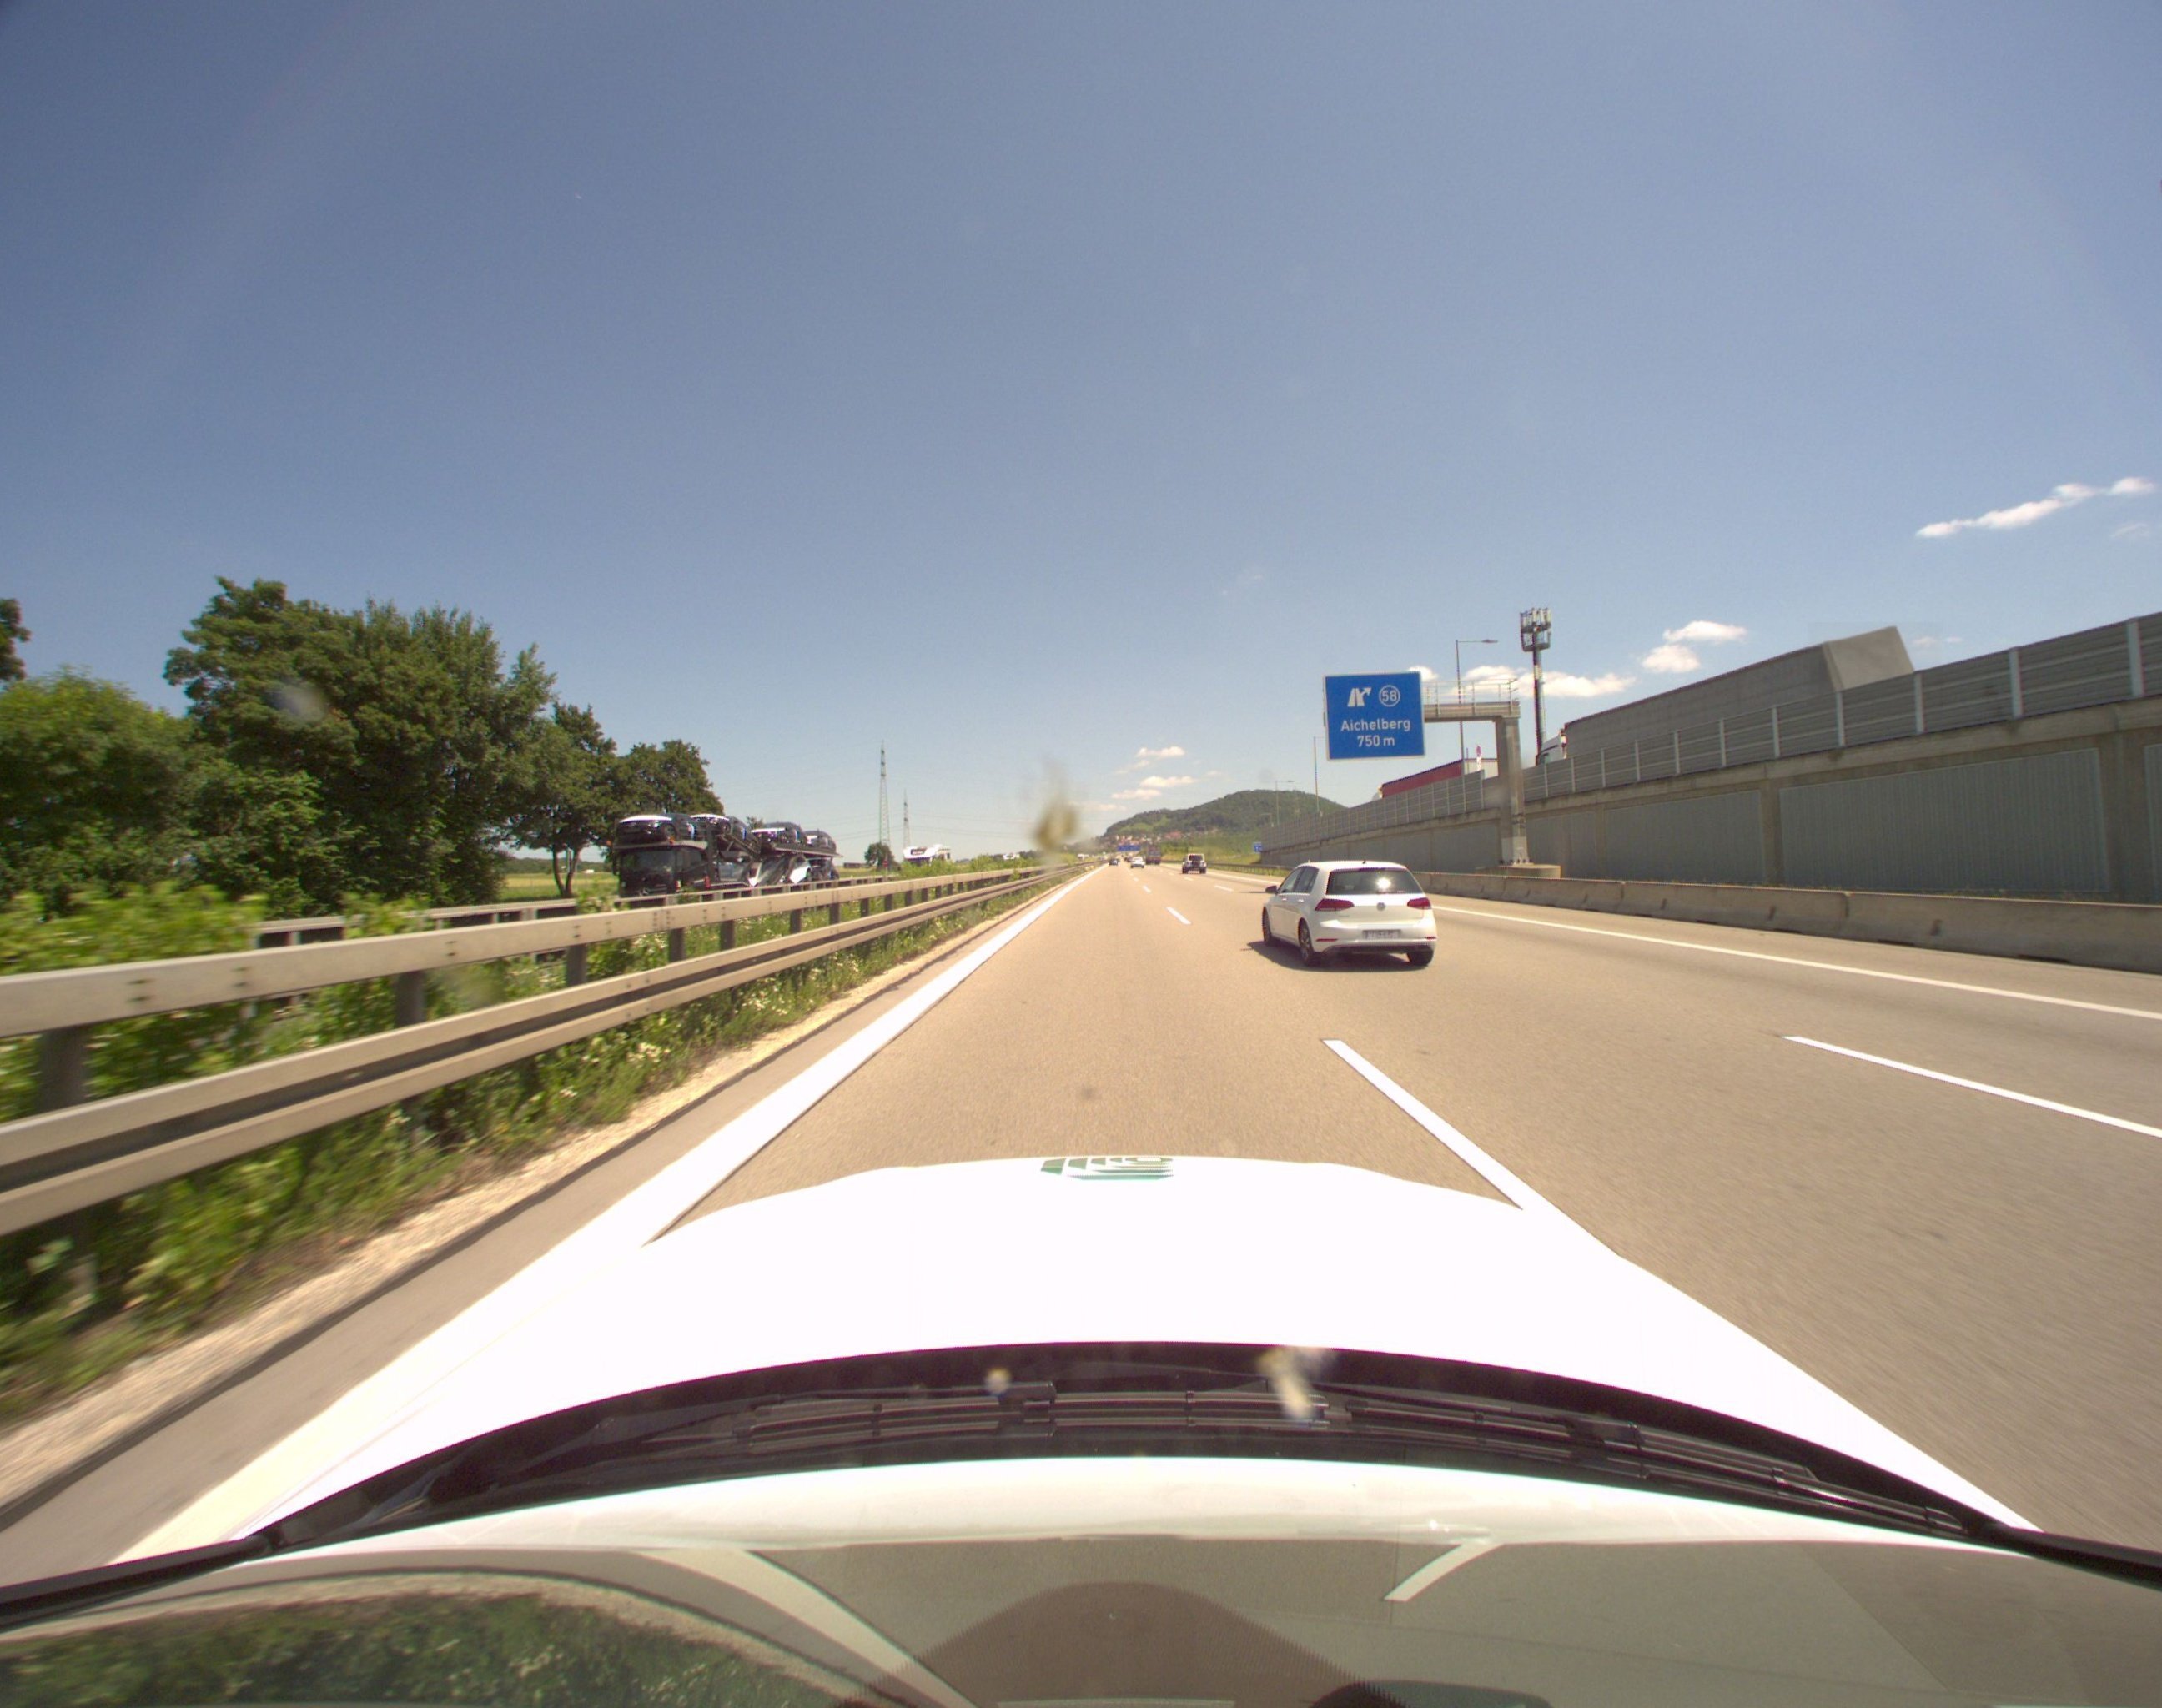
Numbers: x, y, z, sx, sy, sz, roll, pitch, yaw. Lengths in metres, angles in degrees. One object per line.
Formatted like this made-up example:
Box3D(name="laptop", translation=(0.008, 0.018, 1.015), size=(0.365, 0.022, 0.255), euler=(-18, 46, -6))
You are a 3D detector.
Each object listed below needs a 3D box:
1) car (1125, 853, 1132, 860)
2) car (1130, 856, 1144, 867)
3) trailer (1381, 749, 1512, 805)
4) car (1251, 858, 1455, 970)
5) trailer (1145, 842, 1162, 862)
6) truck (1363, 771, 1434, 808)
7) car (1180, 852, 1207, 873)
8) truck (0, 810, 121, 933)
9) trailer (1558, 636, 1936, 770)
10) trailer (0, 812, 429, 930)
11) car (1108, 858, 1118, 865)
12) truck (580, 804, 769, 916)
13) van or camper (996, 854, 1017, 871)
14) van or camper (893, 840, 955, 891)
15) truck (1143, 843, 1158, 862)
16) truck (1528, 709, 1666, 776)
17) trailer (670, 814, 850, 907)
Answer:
Box3D(name="car", translation=(14.958, 0.783, 256.432), size=(1.985, 2.014, 4.003), euler=(0, -1, 3))
Box3D(name="car", translation=(8.256, 1.063, 119.617), size=(1.907, 1.581, 5.233), euler=(0, -1, 2))
Box3D(name="trailer", translation=(24.110, -4.967, 55.025), size=(2.710, 2.224, 14.020), euler=(0, -1, 1))
Box3D(name="car", translation=(3.963, 0.797, 12.765), size=(1.769, 1.433, 4.693), euler=(0, -1, 2))
Box3D(name="trailer", translation=(15.656, -0.345, 176.684), size=(2.716, 4.155, 11.807), euler=(0, -1, 0))
Box3D(name="truck", translation=(24.218, -4.861, 62.537), size=(2.698, 2.204, 7.287), euler=(0, -1, 1))
Box3D(name="car", translation=(10.483, 0.758, 76.146), size=(2.027, 1.804, 4.252), euler=(-3, 0, 2))
Box3D(name="truck", translation=(-34.533, 0.546, 24.968), size=(2.786, 3.783, 6.101), euler=(0, -1, 2))
Box3D(name="trailer", translation=(23.725, -5.173, 31.071), size=(2.710, 2.224, 14.527), euler=(0, -1, 1))
Box3D(name="trailer", translation=(-34.232, 0.639, 33.505), size=(2.757, 3.779, 14.417), euler=(0, -1, 2))
Box3D(name="car", translation=(6.408, 1.509, 161.404), size=(1.985, 1.389, 4.003), euler=(0, -1, 3))
Box3D(name="truck", translation=(-15.769, 0.262, 32.649), size=(2.666, 3.820, 9.156), euler=(0, -1, 2))
Box3D(name="van or camper", translation=(-11.801, 1.401, 129.493), size=(2.526, 2.536, 6.711), euler=(-1, -2, 2))
Box3D(name="van or camper", translation=(-10.892, 0.774, 57.168), size=(2.514, 3.267, 7.378), euler=(-3, -1, 2))
Box3D(name="truck", translation=(15.691, -0.277, 183.669), size=(2.743, 4.020, 6.787), euler=(0, -1, 0))
Box3D(name="truck", translation=(23.808, -5.071, 37.995), size=(2.714, 2.230, 6.037), euler=(0, -1, 1))
Box3D(name="trailer", translation=(-15.477, 0.360, 41.425), size=(2.675, 3.847, 15.185), euler=(0, -1, 2))
